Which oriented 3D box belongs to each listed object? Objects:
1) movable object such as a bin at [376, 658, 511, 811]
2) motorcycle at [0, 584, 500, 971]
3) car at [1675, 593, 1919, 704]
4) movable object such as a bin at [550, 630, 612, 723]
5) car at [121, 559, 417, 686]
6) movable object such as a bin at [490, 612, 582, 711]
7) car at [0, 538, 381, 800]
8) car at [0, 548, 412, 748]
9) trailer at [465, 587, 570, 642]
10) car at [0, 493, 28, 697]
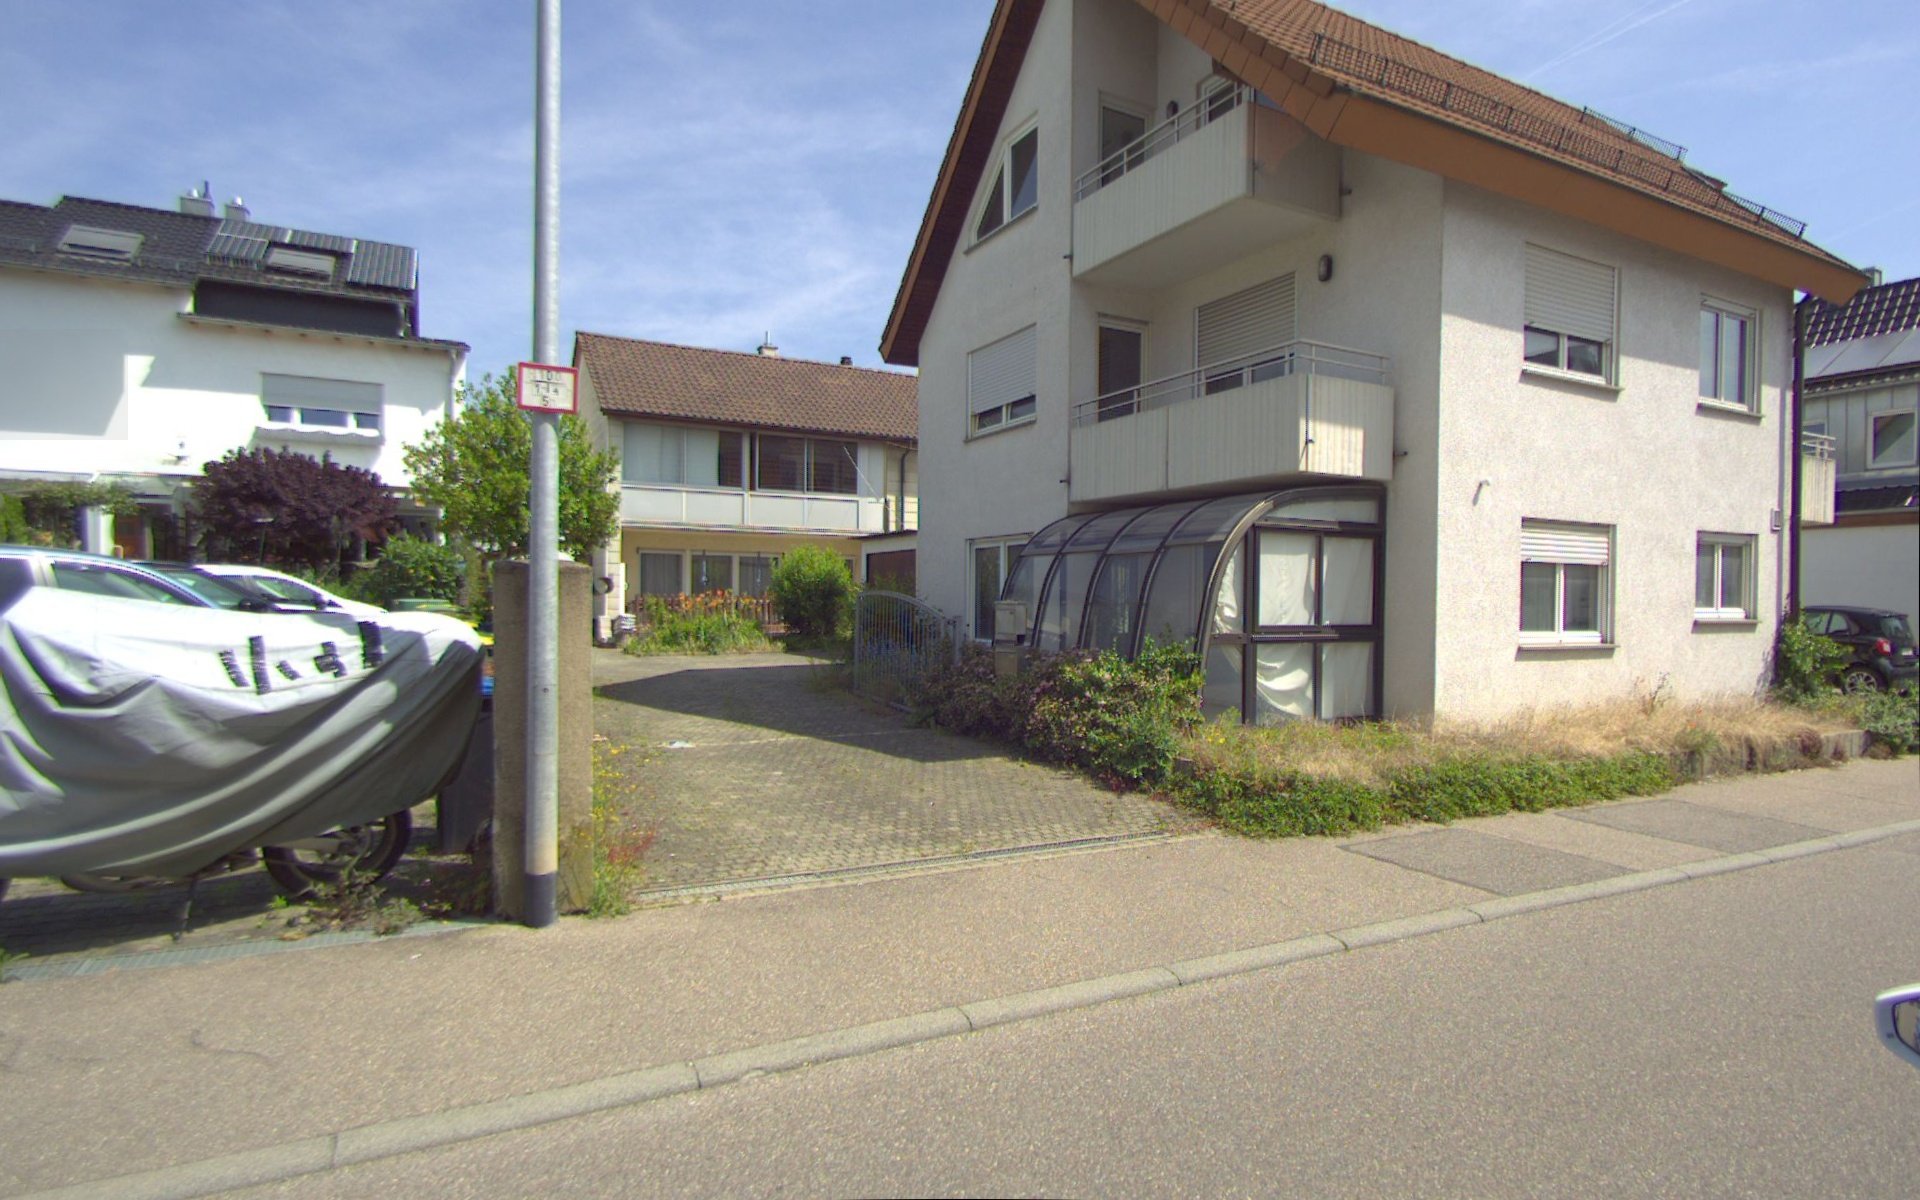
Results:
[{"bbox_3d":[-3.535,0.878,6.882,0.764,0.917,0.796,1,0,-29],"label":"movable object such as a bin"},{"bbox_3d":[-3.258,0.654,4.238,2.324,1.411,0.780,1,0,-30],"label":"motorcycle"},{"bbox_3d":[15.110,0.799,18.120,1.693,1.598,3.096,1,4,-29],"label":"car"},{"bbox_3d":[-4.030,0.793,10.659,0.473,0.910,0.808,1,1,-30],"label":"movable object such as a bin"},{"bbox_3d":[-10.513,0.283,15.487,1.742,1.701,3.348,2,1,30],"label":"car"},{"bbox_3d":[-4.994,0.689,11.794,0.849,1.055,1.179,1,1,-30],"label":"movable object such as a bin"},{"bbox_3d":[-6.712,0.440,7.342,1.745,1.700,3.925,1,0,36],"label":"car"},{"bbox_3d":[-7.959,0.420,9.993,1.710,1.700,4.083,1,0,44],"label":"car"},{"bbox_3d":[-12.182,0.354,27.453,2.021,1.325,4.730,1,1,-31],"label":"trailer"},{"bbox_3d":[-11.984,-0.067,10.644,1.942,2.526,4.781,1,0,-29],"label":"car"}]
